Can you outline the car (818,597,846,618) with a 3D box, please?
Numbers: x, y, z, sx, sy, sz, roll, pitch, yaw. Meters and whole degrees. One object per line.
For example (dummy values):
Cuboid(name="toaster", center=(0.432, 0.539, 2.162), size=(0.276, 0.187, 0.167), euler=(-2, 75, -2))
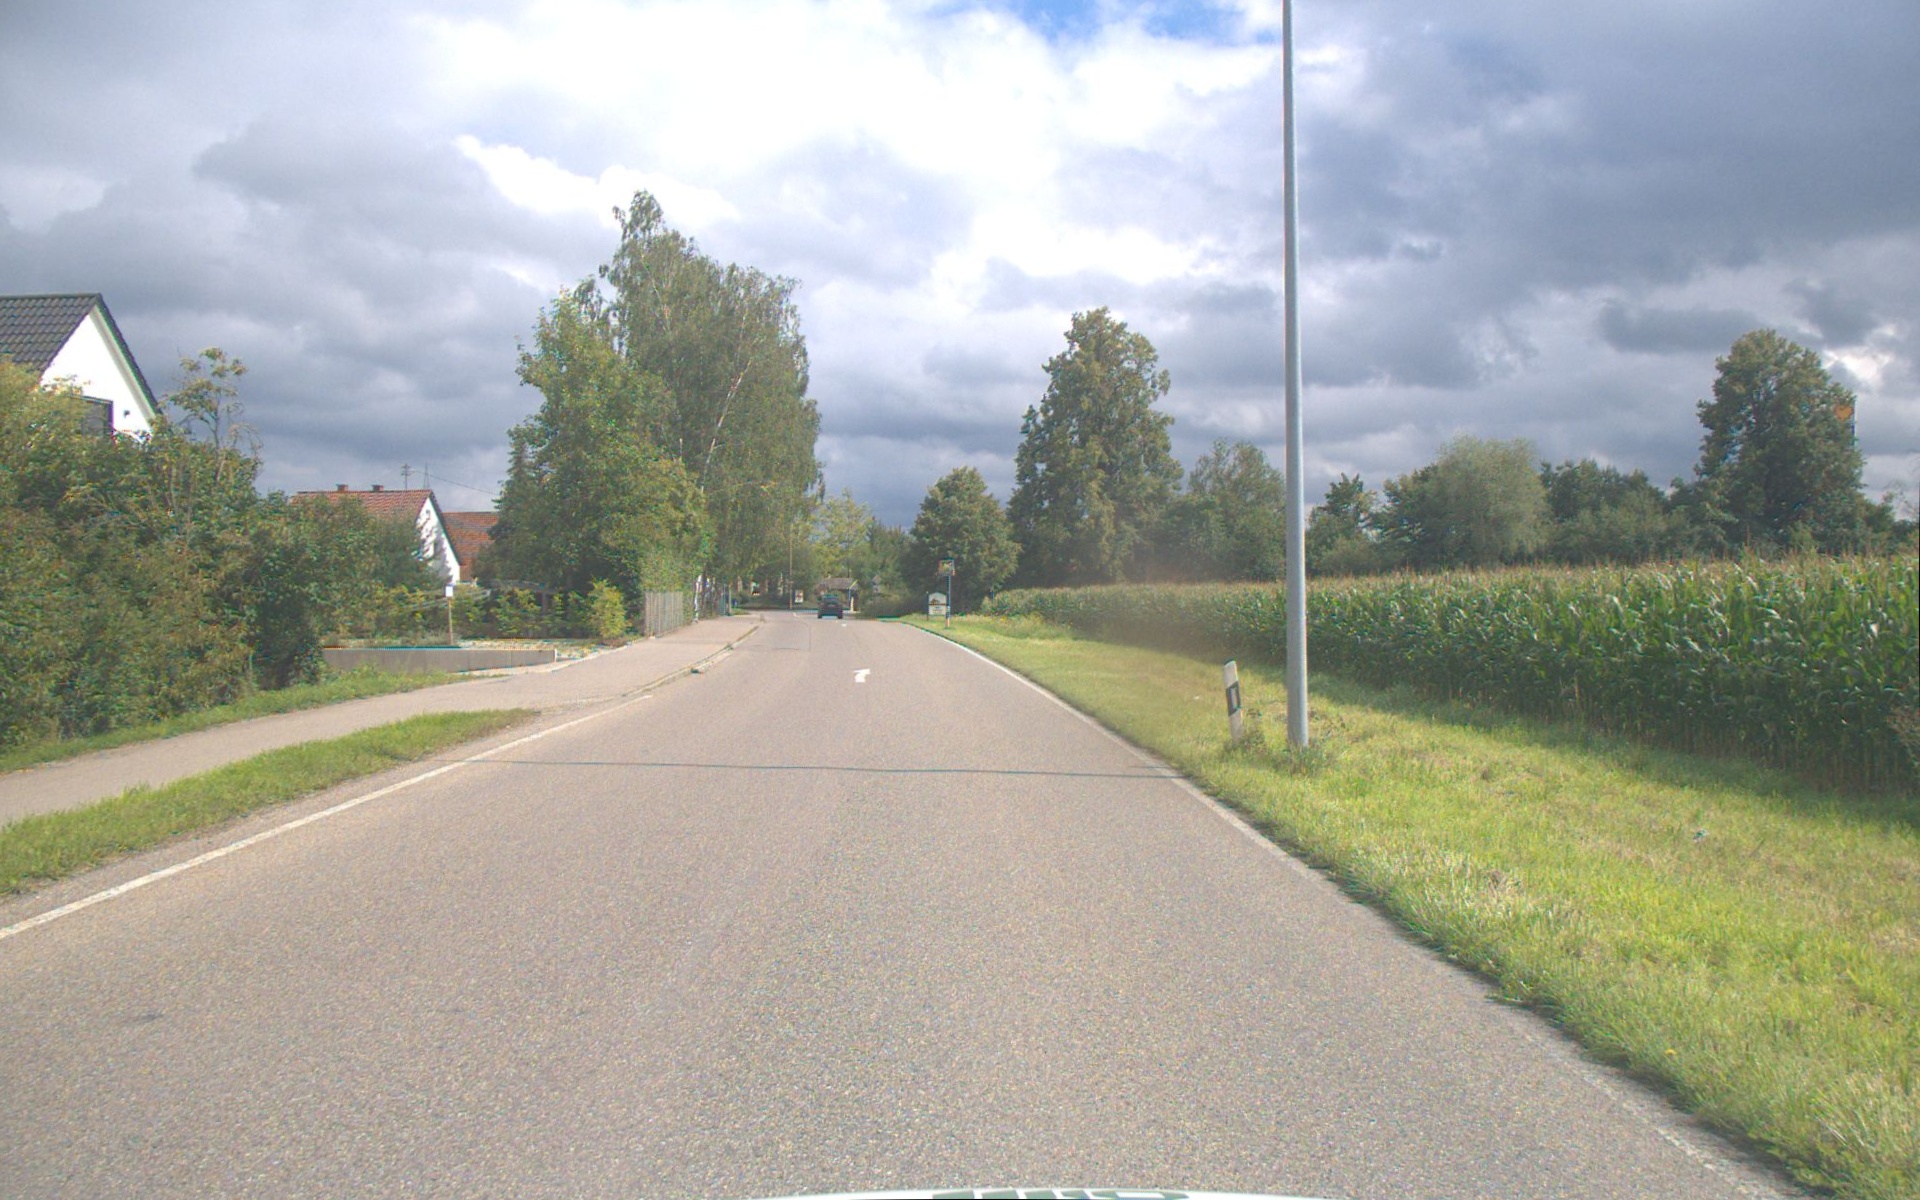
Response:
Cuboid(name="car", center=(-9.948, 0.566, 128.788), size=(1.956, 1.612, 3.993), euler=(1, 0, -7))
